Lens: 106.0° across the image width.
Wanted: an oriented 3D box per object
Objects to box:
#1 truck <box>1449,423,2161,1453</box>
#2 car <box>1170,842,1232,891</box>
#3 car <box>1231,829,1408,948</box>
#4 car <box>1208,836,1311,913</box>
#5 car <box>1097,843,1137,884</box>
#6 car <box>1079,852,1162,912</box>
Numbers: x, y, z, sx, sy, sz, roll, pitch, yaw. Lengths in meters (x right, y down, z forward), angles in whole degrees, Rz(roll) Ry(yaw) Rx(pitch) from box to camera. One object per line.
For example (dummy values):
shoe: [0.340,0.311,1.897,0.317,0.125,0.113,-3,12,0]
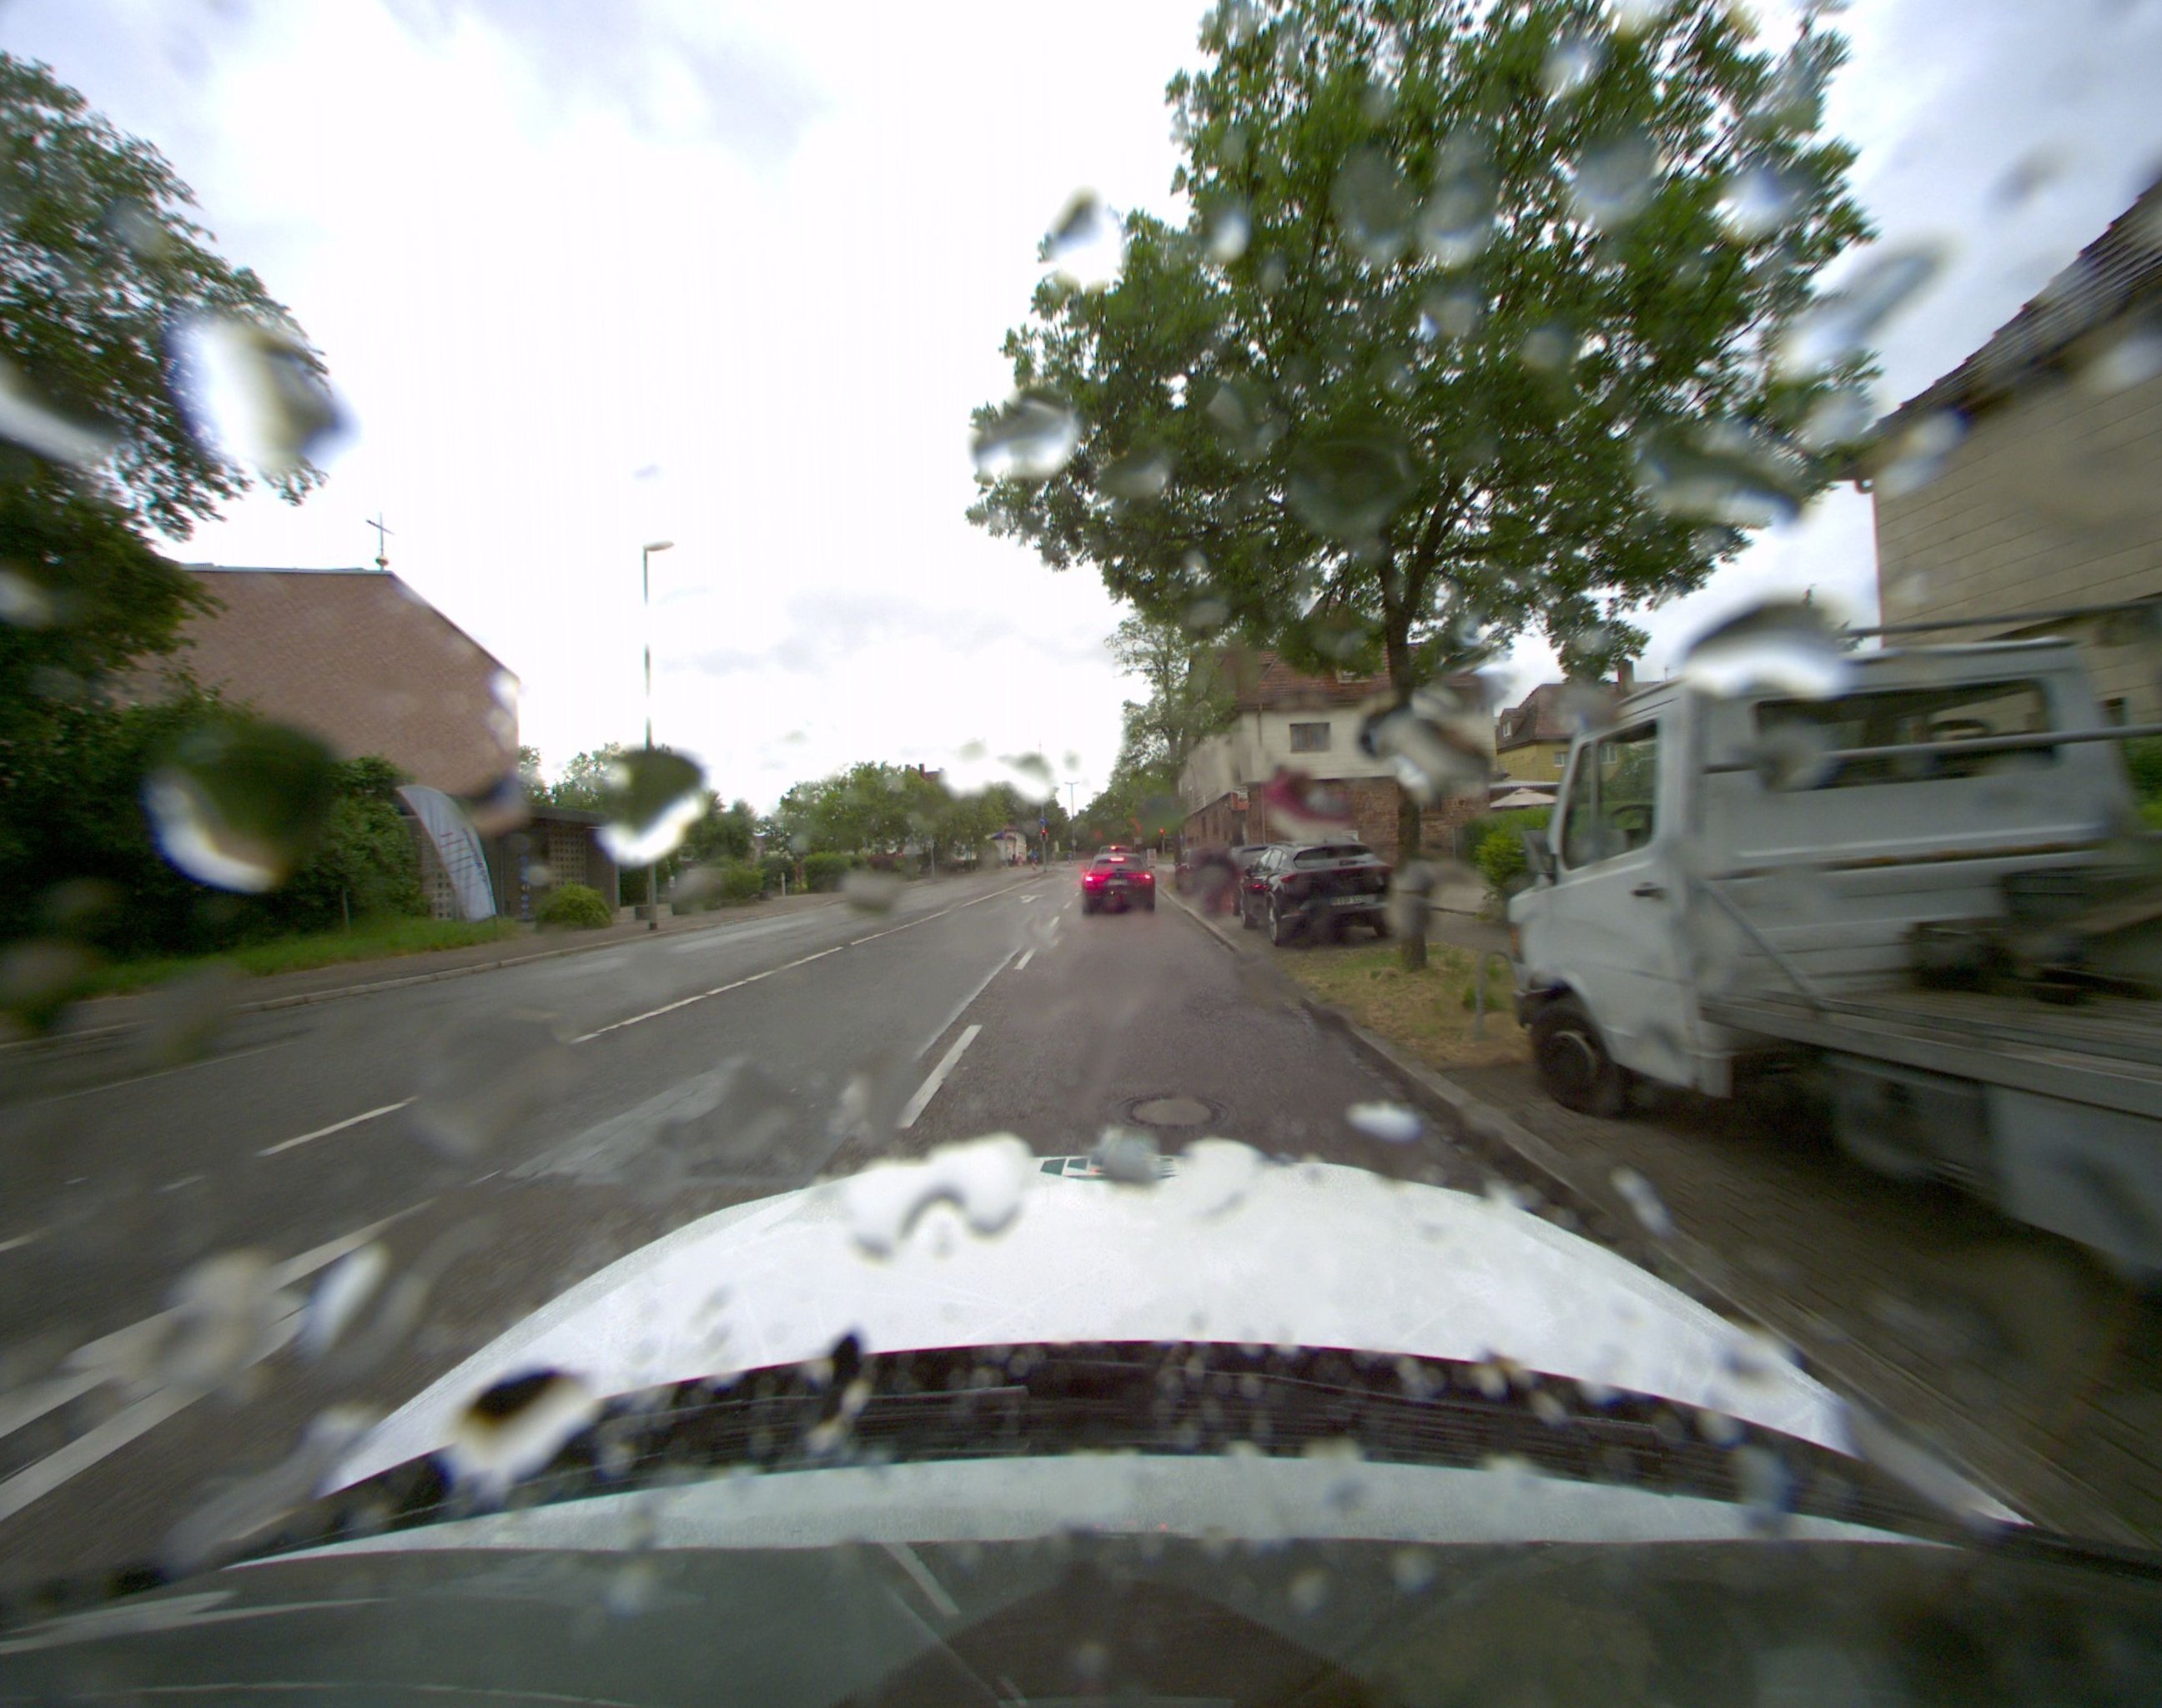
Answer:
truck: [3.341,0.135,1.779,2.073,2.221,6.502,-5,0,1]
car: [4.177,0.397,28.718,1.578,1.490,3.627,-5,0,0]
car: [3.646,0.472,13.225,1.707,1.498,4.186,-5,0,2]
car: [4.028,0.433,18.978,1.598,1.472,3.858,-5,0,2]
car: [1.698,0.431,39.680,1.777,1.817,4.000,-2,0,1]
car: [1.001,0.708,22.496,2.057,1.446,4.483,-1,0,0]
